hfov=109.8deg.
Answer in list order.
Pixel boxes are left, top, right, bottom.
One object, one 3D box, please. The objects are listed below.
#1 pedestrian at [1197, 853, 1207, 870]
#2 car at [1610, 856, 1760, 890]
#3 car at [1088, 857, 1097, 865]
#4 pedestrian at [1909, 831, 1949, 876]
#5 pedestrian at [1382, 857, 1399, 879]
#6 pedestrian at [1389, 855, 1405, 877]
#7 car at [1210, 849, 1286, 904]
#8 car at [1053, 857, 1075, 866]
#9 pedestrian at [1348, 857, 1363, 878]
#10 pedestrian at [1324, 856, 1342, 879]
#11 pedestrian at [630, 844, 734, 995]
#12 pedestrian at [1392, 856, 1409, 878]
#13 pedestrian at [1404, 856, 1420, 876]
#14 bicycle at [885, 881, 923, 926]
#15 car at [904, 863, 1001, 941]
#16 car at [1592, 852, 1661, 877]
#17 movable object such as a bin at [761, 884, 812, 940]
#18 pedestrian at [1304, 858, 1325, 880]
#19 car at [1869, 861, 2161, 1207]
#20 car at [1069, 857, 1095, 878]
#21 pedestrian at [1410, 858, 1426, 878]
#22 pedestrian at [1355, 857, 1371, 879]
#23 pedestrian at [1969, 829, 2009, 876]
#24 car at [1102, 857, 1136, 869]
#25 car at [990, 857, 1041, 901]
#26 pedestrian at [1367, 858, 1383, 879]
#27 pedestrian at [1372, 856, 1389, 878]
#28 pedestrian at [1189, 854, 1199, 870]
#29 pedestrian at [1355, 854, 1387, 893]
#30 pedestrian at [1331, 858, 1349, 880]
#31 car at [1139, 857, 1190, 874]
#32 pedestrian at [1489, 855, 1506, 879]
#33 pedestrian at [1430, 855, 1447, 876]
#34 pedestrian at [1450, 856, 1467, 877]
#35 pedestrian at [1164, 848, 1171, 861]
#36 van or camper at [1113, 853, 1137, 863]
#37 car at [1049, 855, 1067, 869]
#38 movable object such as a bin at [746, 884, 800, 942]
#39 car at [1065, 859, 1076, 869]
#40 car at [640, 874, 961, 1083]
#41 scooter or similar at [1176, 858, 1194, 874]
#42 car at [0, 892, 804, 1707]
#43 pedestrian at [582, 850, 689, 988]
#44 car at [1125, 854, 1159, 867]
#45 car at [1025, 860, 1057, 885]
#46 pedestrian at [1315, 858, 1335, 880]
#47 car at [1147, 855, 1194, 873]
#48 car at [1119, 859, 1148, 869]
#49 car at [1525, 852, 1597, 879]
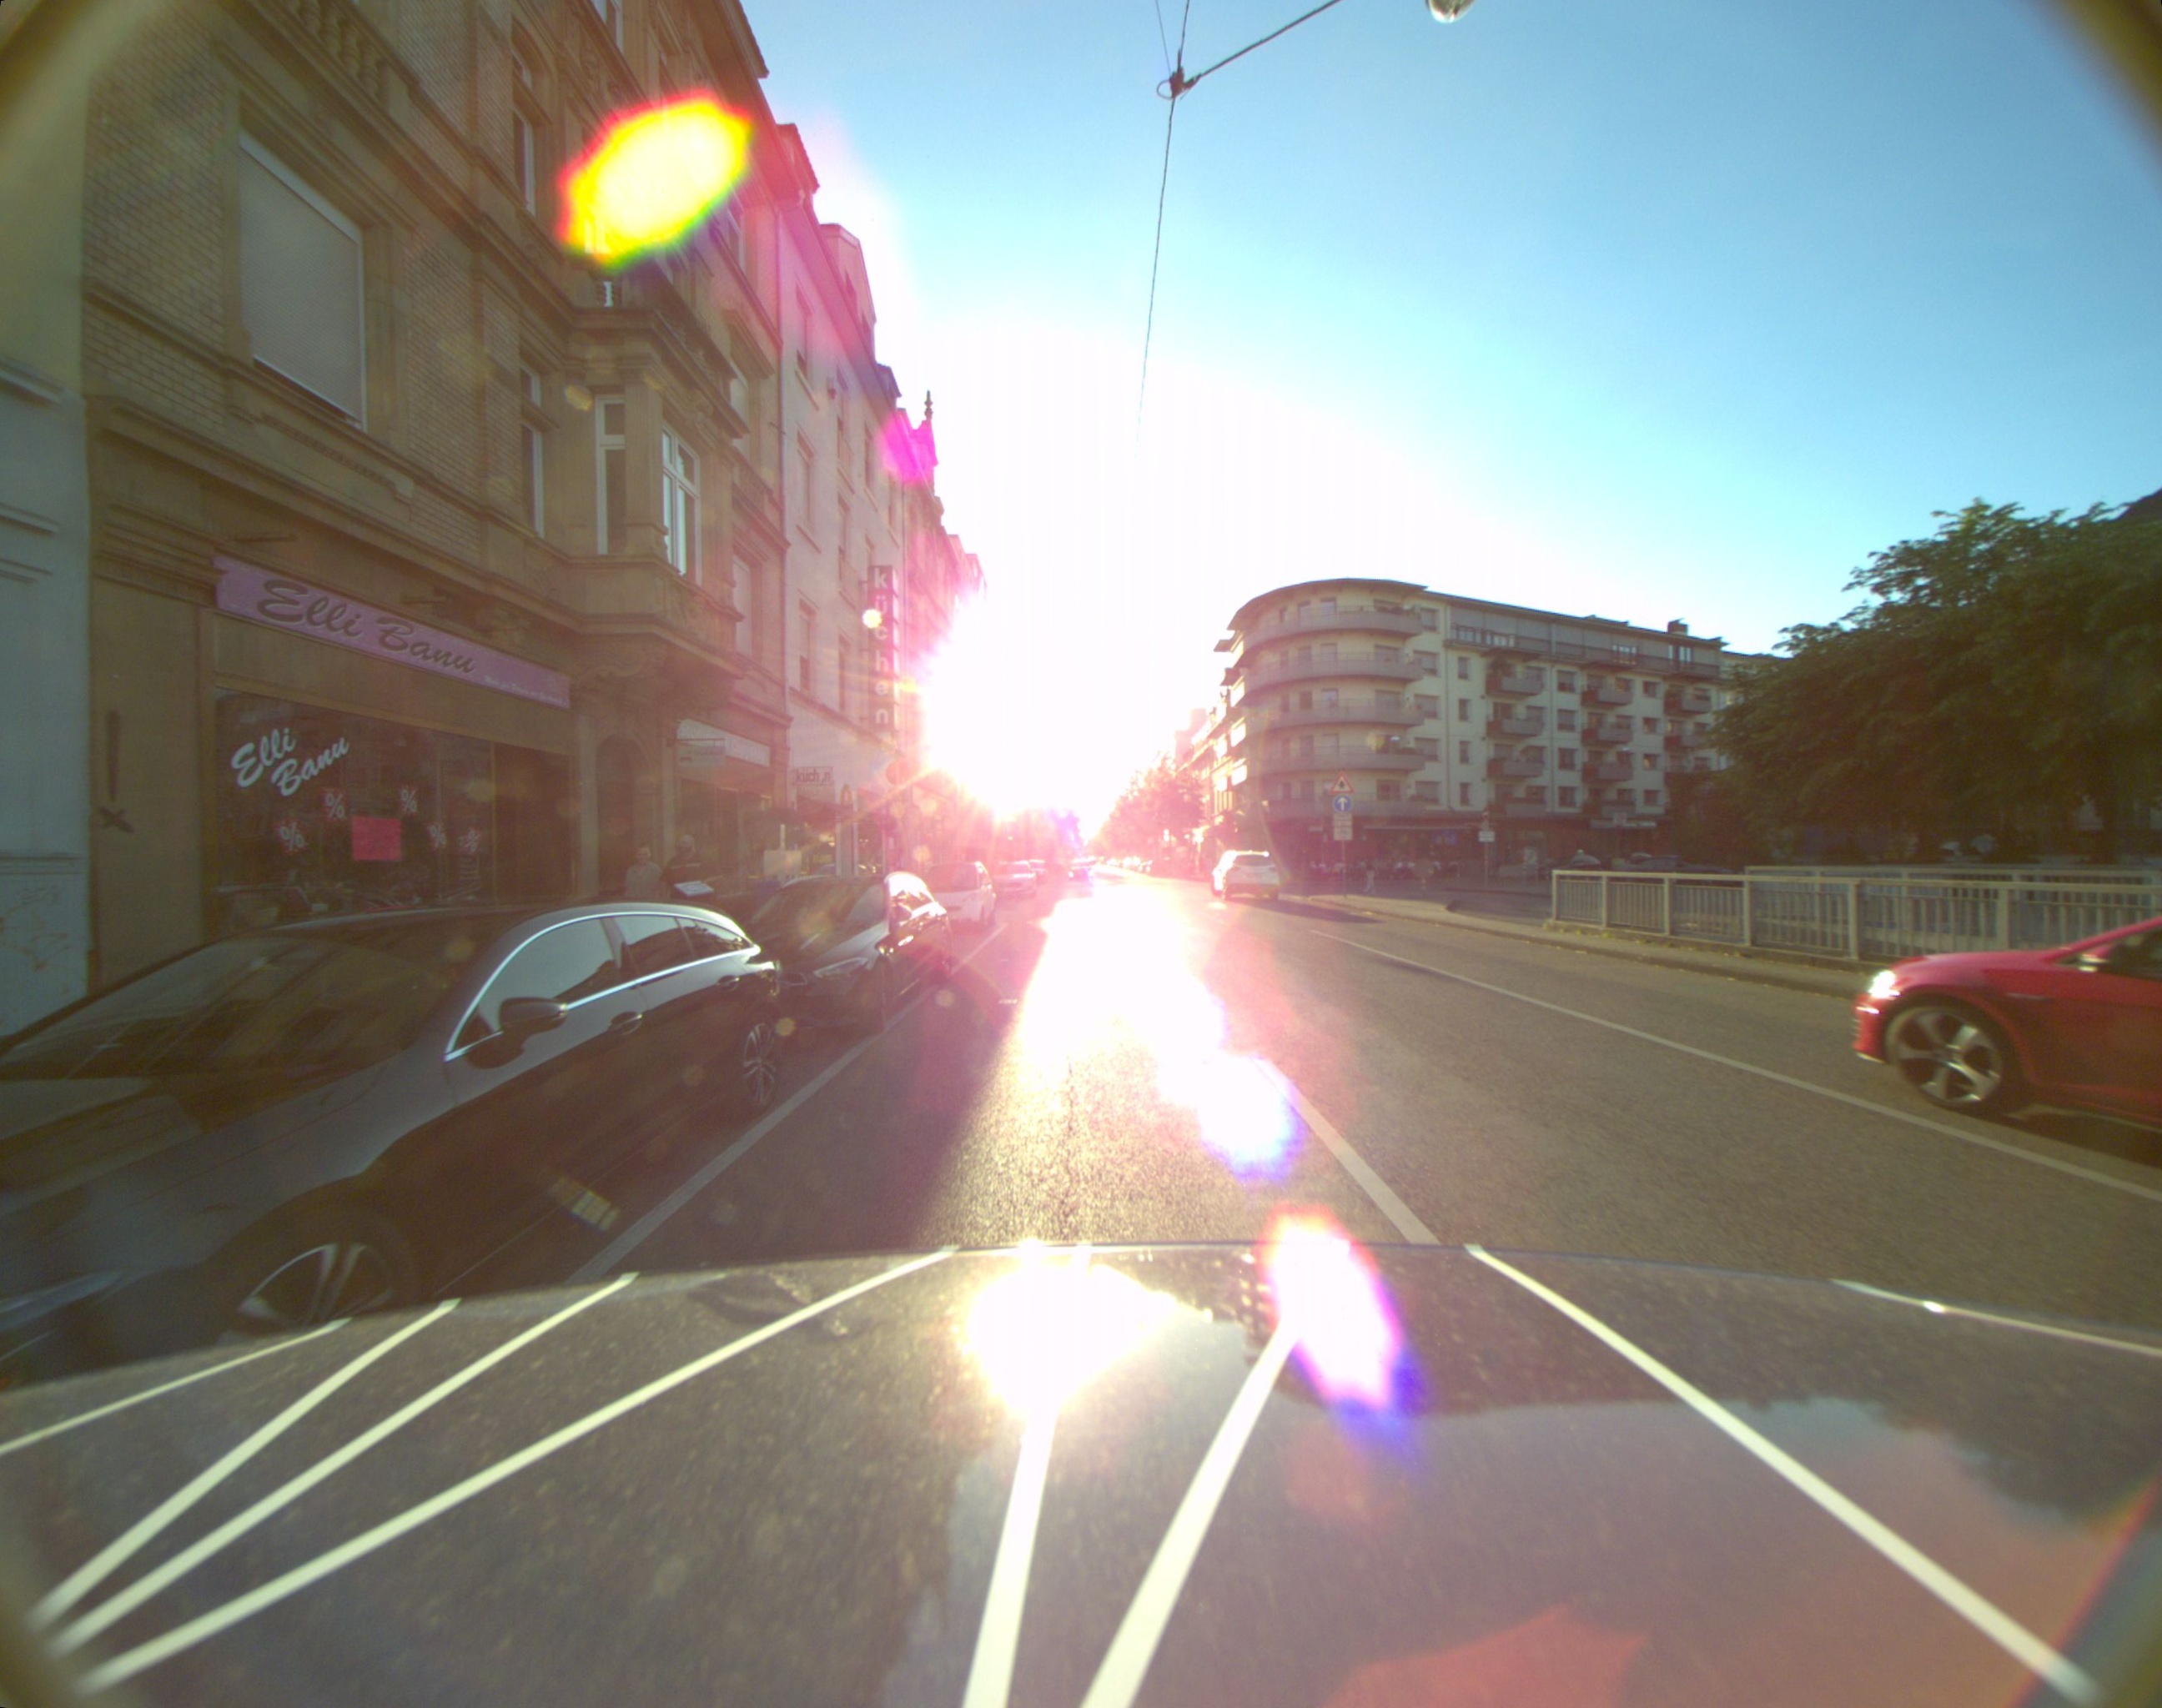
[{"bbox_3d":[11.991,0.747,75.108,0.774,1.598,0.875,-2,2,0],"label":"pedestrian"},{"bbox_3d":[25.131,0.775,31.799,2.003,1.310,4.518,0,-1,-31],"label":"car"},{"bbox_3d":[2.643,1.631,174.172,1.866,1.682,4.461,-1,-1,0],"label":"car"},{"bbox_3d":[30.716,-0.032,27.525,0.691,1.577,0.768,-1,2,-23],"label":"pedestrian"},{"bbox_3d":[18.562,0.853,45.558,0.622,1.280,0.701,-1,2,-9],"label":"pedestrian"},{"bbox_3d":[19.534,0.743,46.948,0.622,1.326,0.701,-1,2,-9],"label":"pedestrian"},{"bbox_3d":[5.858,0.713,27.157,1.998,1.751,4.466,0,1,4],"label":"car"},{"bbox_3d":[-2.874,1.296,129.789,1.661,1.574,3.632,0,-2,41],"label":"car"},{"bbox_3d":[16.676,0.805,46.167,0.622,1.240,0.701,-1,2,-9],"label":"pedestrian"},{"bbox_3d":[15.044,0.785,45.442,0.748,1.340,0.829,0,2,-6],"label":"pedestrian"},{"bbox_3d":[-5.028,0.790,9.639,0.774,1.816,1.010,1,0,0],"label":"pedestrian"},{"bbox_3d":[19.297,0.785,45.885,0.622,1.280,0.701,-1,2,-9],"label":"pedestrian"},{"bbox_3d":[20.875,0.733,47.913,0.622,1.218,0.701,-1,2,-13],"label":"pedestrian"},{"bbox_3d":[-4.376,1.203,18.921,0.505,1.010,1.947,-1,0,-1],"label":"bicycle"},{"bbox_3d":[-2.870,1.031,17.595,1.535,1.528,3.283,-2,1,2],"label":"car"},{"bbox_3d":[36.654,0.676,51.042,4.004,1.586,1.967,-1,0,-23],"label":"car"},{"bbox_3d":[-5.905,1.163,15.257,0.776,1.064,0.618,1,0,0],"label":"movable object such as a bin"},{"bbox_3d":[13.690,0.866,44.532,0.900,1.235,0.767,-1,2,-8],"label":"pedestrian"},{"bbox_3d":[5.711,0.826,2.698,1.696,1.543,3.951,1,0,0],"label":"car"},{"bbox_3d":[0.101,0.992,56.917,1.825,1.469,4.155,-1,0,1],"label":"car"},{"bbox_3d":[20.591,0.848,46.426,0.622,1.218,0.701,-1,2,-13],"label":"pedestrian"},{"bbox_3d":[16.821,0.837,45.282,0.622,1.240,0.701,-1,2,-9],"label":"pedestrian"},{"bbox_3d":[31.364,-0.063,26.251,0.622,1.577,0.700,-1,2,-23],"label":"pedestrian"},{"bbox_3d":[4.845,1.106,96.898,4.160,1.413,1.766,-2,0,-2],"label":"car"},{"bbox_3d":[-2.631,0.978,31.517,1.763,1.528,4.820,-3,1,-2],"label":"car"},{"bbox_3d":[17.596,0.854,45.435,0.622,1.240,0.701,-1,2,-9],"label":"pedestrian"},{"bbox_3d":[18.404,0.798,46.688,0.657,1.280,0.701,-1,2,-9],"label":"pedestrian"},{"bbox_3d":[11.169,0.766,75.062,0.736,1.519,0.875,-2,2,0],"label":"pedestrian"},{"bbox_3d":[11.792,0.804,30.919,0.901,1.557,0.766,0,0,-25],"label":"pedestrian"},{"bbox_3d":[15.122,0.847,44.334,0.724,1.240,0.829,0,2,-6],"label":"pedestrian"},{"bbox_3d":[7.908,1.055,72.358,4.582,1.399,1.821,-2,0,-1],"label":"car"},{"bbox_3d":[26.589,0.819,48.521,0.702,1.461,0.620,-1,2,-26],"label":"pedestrian"},{"bbox_3d":[22.865,0.723,48.591,0.622,1.280,0.700,-1,2,-21],"label":"pedestrian"},{"bbox_3d":[23.641,0.770,47.585,0.622,1.280,0.700,-1,2,-21],"label":"pedestrian"},{"bbox_3d":[11.355,0.048,99.292,0.774,1.712,0.875,-2,2,0],"label":"pedestrian"},{"bbox_3d":[8.537,0.767,148.276,4.469,1.944,1.789,-1,0,2],"label":"van or camper"},{"bbox_3d":[-2.911,1.018,97.330,2.043,1.727,4.711,1,0,1],"label":"car"},{"bbox_3d":[-5.921,1.123,14.615,0.776,1.064,0.618,1,0,0],"label":"movable object such as a bin"},{"bbox_3d":[-1.597,1.637,119.823,1.695,1.534,3.553,1,0,0],"label":"car"},{"bbox_3d":[-2.608,1.064,8.358,1.734,1.440,4.524,-3,1,1],"label":"car"},{"bbox_3d":[8.532,0.972,62.260,1.402,1.219,0.525,-2,0,-3],"label":"scooter or similar"},{"bbox_3d":[-2.839,1.041,2.995,1.734,1.440,4.473,-3,1,1],"label":"car"},{"bbox_3d":[-5.777,0.805,9.925,0.774,1.701,1.042,1,0,0],"label":"pedestrian"},{"bbox_3d":[8.163,0.866,102.239,4.417,1.586,1.890,-2,0,-1],"label":"car"},{"bbox_3d":[-2.581,1.177,50.050,1.763,1.527,4.000,2,0,1],"label":"car"},{"bbox_3d":[14.080,0.856,43.819,0.829,1.266,0.748,-1,2,-8],"label":"pedestrian"},{"bbox_3d":[8.229,0.905,69.862,4.083,1.527,1.884,-2,0,0],"label":"car"},{"bbox_3d":[8.130,1.502,117.443,4.285,1.475,1.744,-2,0,0],"label":"car"},{"bbox_3d":[30.787,0.717,48.744,4.004,1.586,1.967,-1,0,-23],"label":"car"}]
